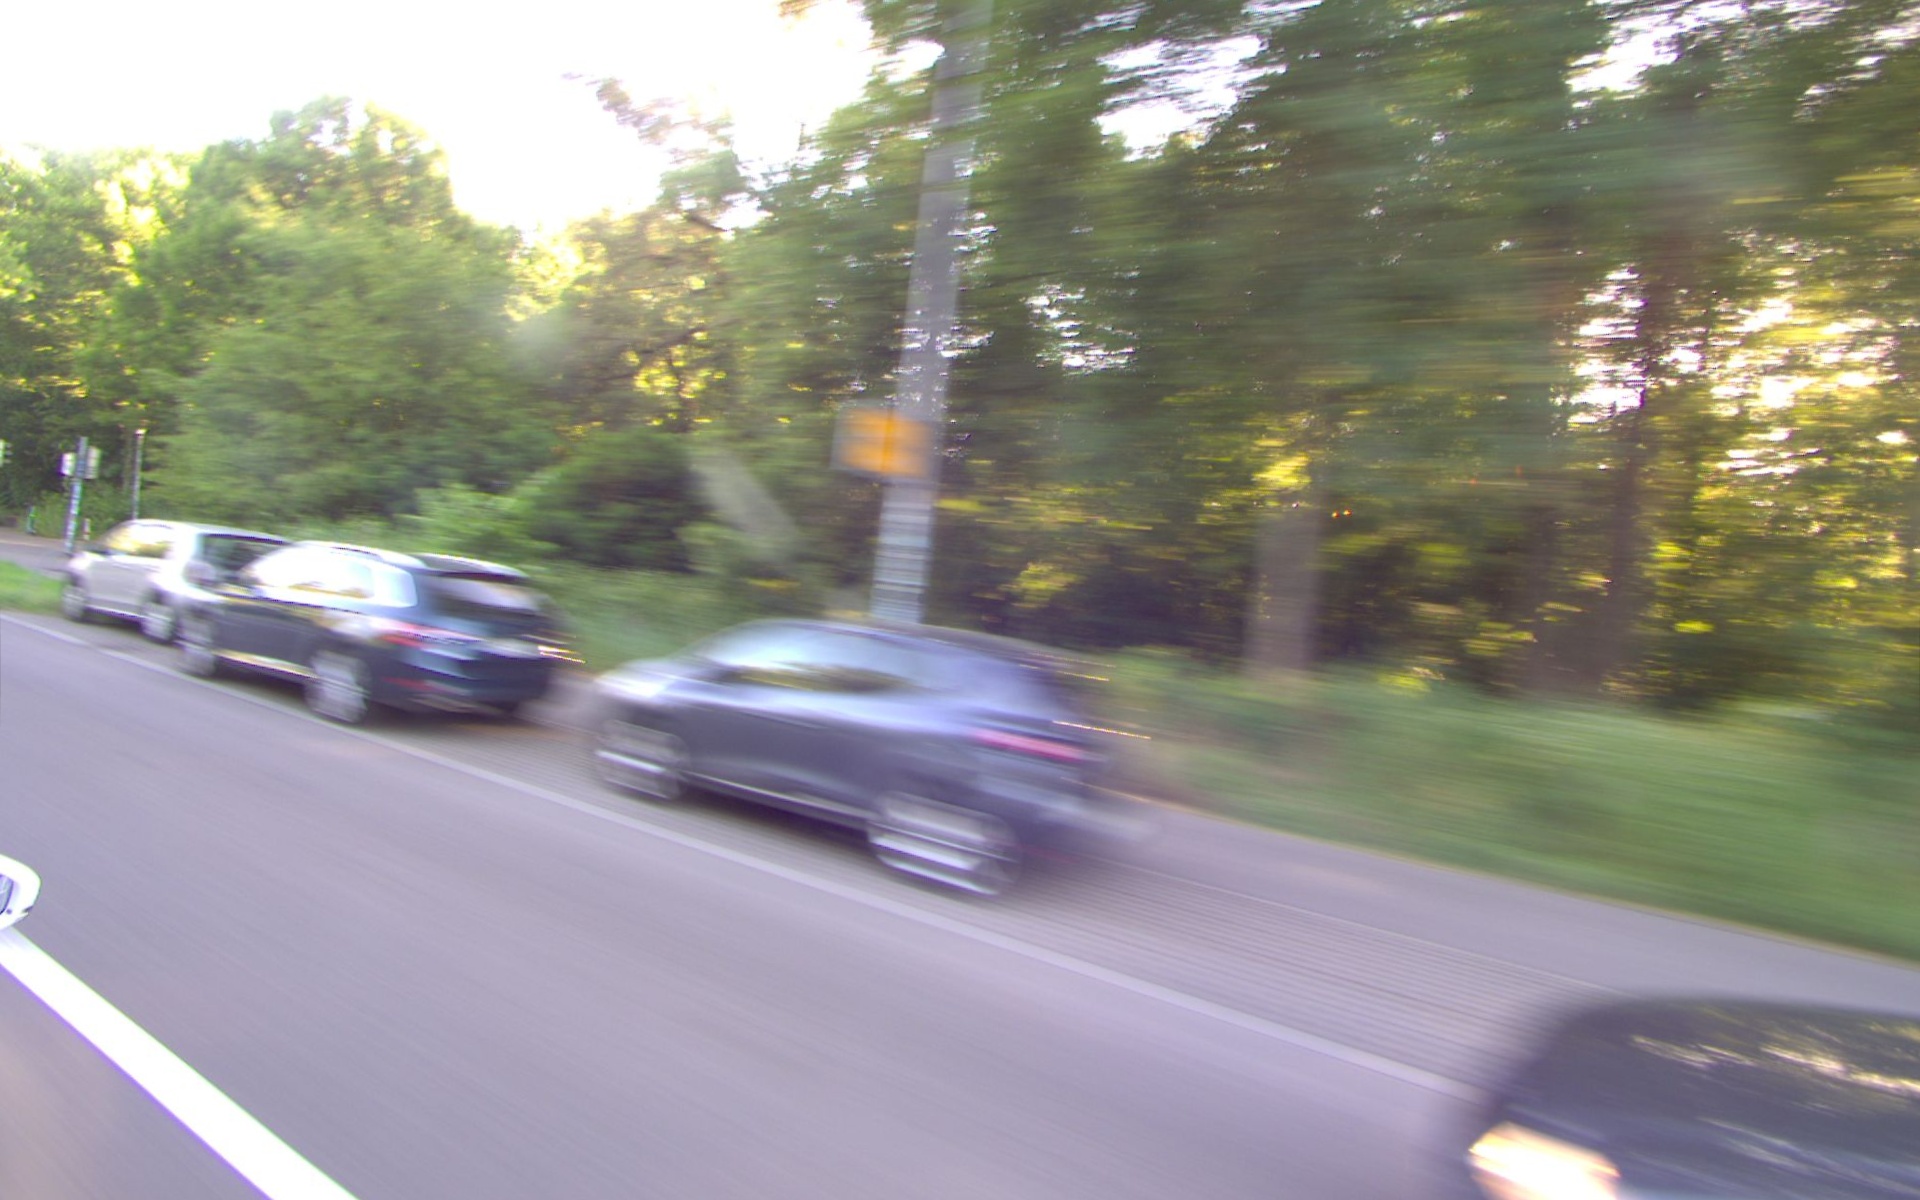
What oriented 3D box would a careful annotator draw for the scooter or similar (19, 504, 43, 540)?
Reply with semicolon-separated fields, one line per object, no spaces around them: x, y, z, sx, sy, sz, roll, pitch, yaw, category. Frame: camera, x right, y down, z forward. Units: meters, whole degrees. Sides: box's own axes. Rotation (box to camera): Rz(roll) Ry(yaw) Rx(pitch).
-32.666;-2.740;35.375;1.206;1.158;0.377;7;0;41;scooter or similar

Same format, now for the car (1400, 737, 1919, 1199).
2.824;1.226;1.385;3.927;1.375;1.678;7;-2;31;car

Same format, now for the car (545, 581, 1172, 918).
-0.855;0.813;7.071;4.162;1.422;1.673;6;0;33;car

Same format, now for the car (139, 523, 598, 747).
-5.949;0.221;9.867;5.034;1.487;1.763;6;0;33;car

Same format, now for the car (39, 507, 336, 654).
-10.251;-0.275;13.308;3.808;1.487;1.720;6;0;30;car
